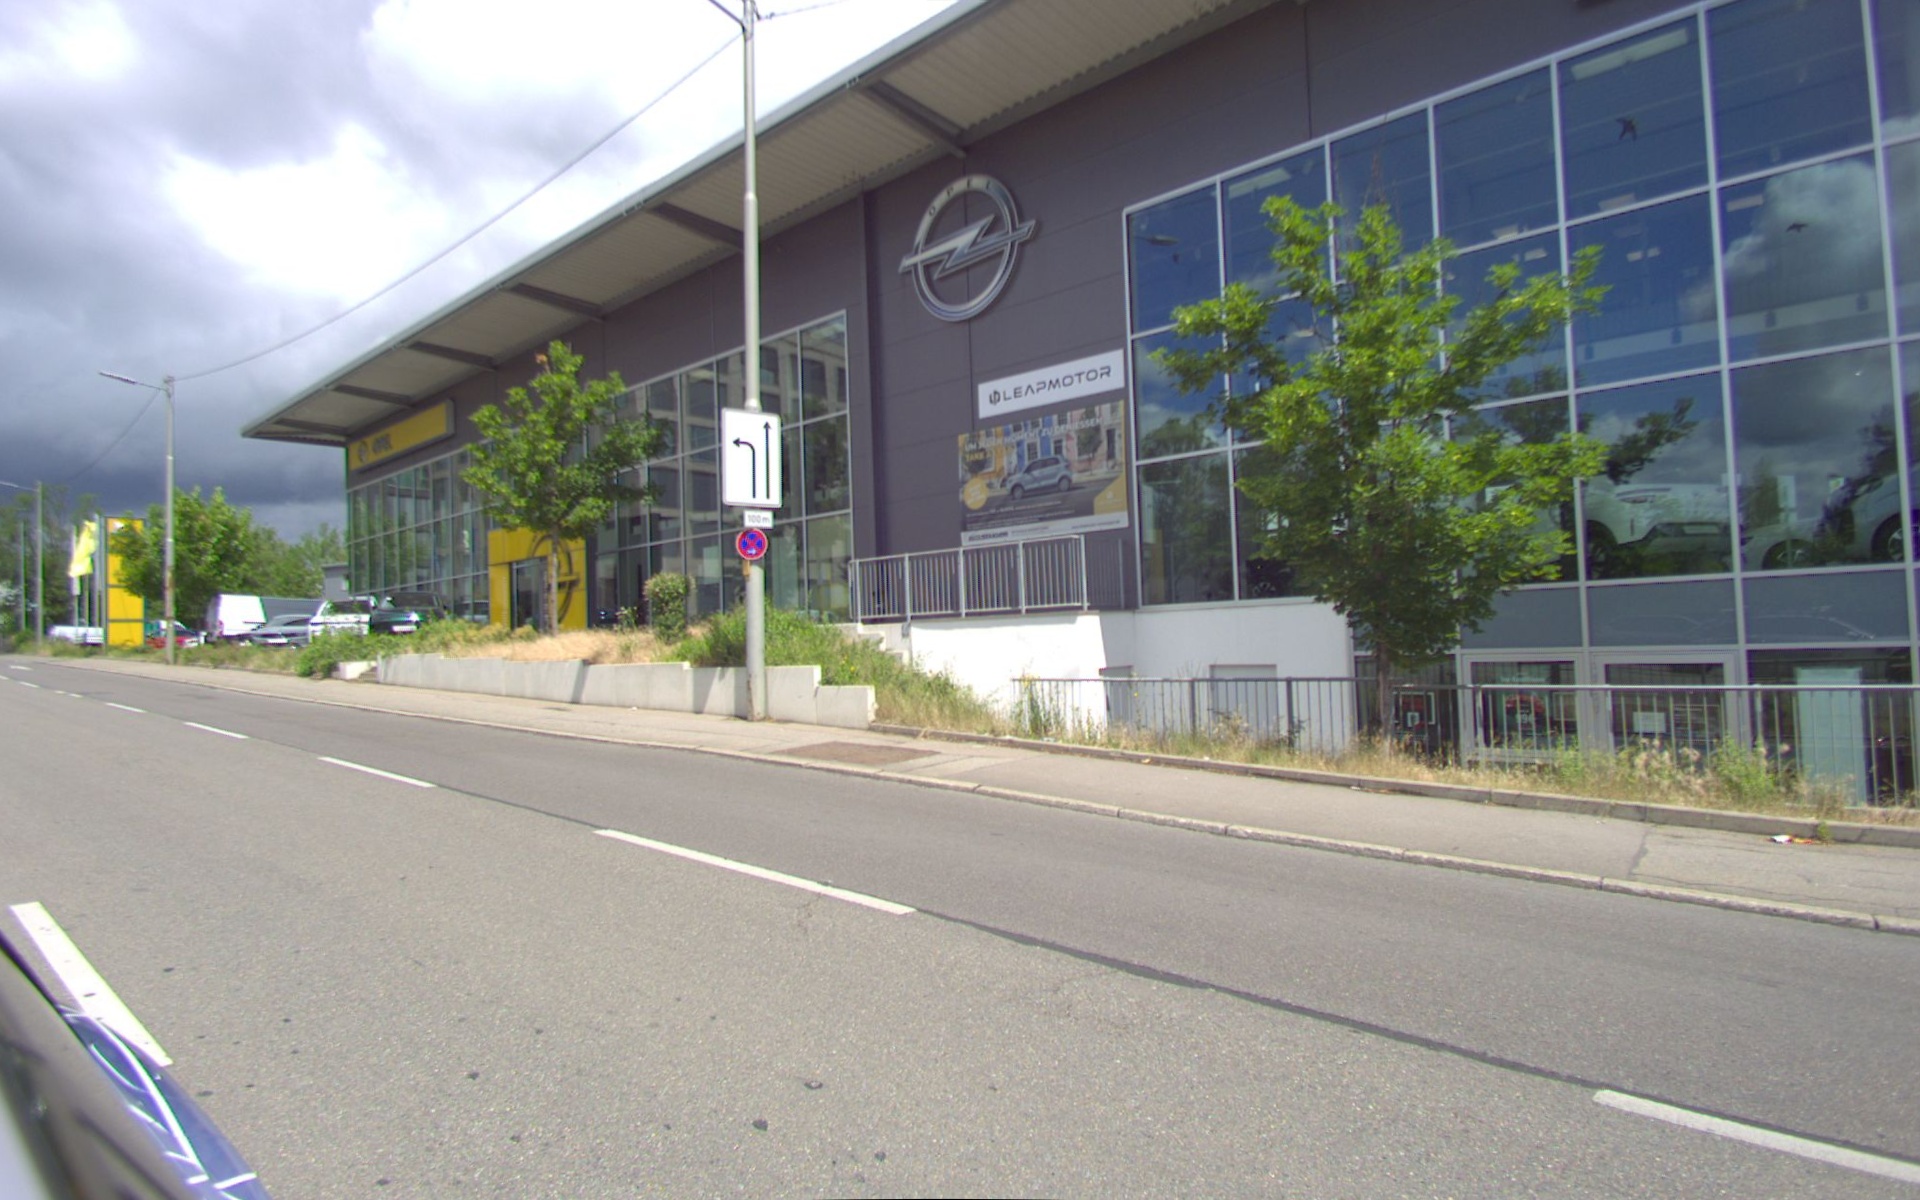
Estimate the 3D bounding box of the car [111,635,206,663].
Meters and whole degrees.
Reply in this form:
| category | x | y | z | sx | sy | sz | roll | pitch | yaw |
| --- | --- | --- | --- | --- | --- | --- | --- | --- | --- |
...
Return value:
| category | x | y | z | sx | sy | sz | roll | pitch | yaw |
| --- | --- | --- | --- | --- | --- | --- | --- | --- | --- |
| car | -42.030 | 2.541 | 53.107 | 1.814 | 1.420 | 3.621 | -2 | -2 | 42 |

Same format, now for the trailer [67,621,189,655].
| category | x | y | z | sx | sy | sz | roll | pitch | yaw |
| --- | --- | --- | --- | --- | --- | --- | --- | --- | --- |
| trailer | -45.336 | 2.065 | 55.236 | 2.092 | 1.765 | 4.776 | -2 | -2 | 37 |

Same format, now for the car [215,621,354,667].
| category | x | y | z | sx | sy | sz | roll | pitch | yaw |
| --- | --- | --- | --- | --- | --- | --- | --- | --- | --- |
| car | -25.743 | 1.652 | 38.682 | 1.792 | 1.625 | 4.064 | -2 | -2 | 32 |

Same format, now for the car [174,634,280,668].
| category | x | y | z | sx | sy | sz | roll | pitch | yaw |
| --- | --- | --- | --- | --- | --- | --- | --- | --- | --- |
| car | -35.537 | 2.460 | 49.171 | 1.559 | 1.539 | 3.897 | -2 | -2 | 38 |

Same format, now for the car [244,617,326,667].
| category | x | y | z | sx | sy | sz | roll | pitch | yaw |
| --- | --- | --- | --- | --- | --- | --- | --- | --- | --- |
| car | -23.417 | 1.437 | 35.242 | 1.767 | 1.625 | 4.122 | 1 | -2 | -26 |

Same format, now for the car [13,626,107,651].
| category | x | y | z | sx | sy | sz | roll | pitch | yaw |
| --- | --- | --- | --- | --- | --- | --- | --- | --- | --- |
| car | -57.681 | 2.448 | 64.915 | 2.093 | 1.493 | 4.200 | -2 | -2 | 38 |

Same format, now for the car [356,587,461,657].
| category | x | y | z | sx | sy | sz | roll | pitch | yaw |
| --- | --- | --- | --- | --- | --- | --- | --- | --- | --- |
| car | -15.541 | 0.644 | 28.710 | 1.791 | 1.625 | 4.121 | -7 | 0 | -19 |

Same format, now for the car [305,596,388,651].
| category | x | y | z | sx | sy | sz | roll | pitch | yaw |
| --- | --- | --- | --- | --- | --- | --- | --- | --- | --- |
| car | -19.225 | 0.738 | 31.881 | 1.767 | 1.625 | 4.122 | 0 | -1 | -25 |

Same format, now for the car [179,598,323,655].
| category | x | y | z | sx | sy | sz | roll | pitch | yaw |
| --- | --- | --- | --- | --- | --- | --- | --- | --- | --- |
| car | -29.314 | 1.071 | 41.938 | 2.177 | 2.211 | 4.476 | -1 | -1 | 38 |
